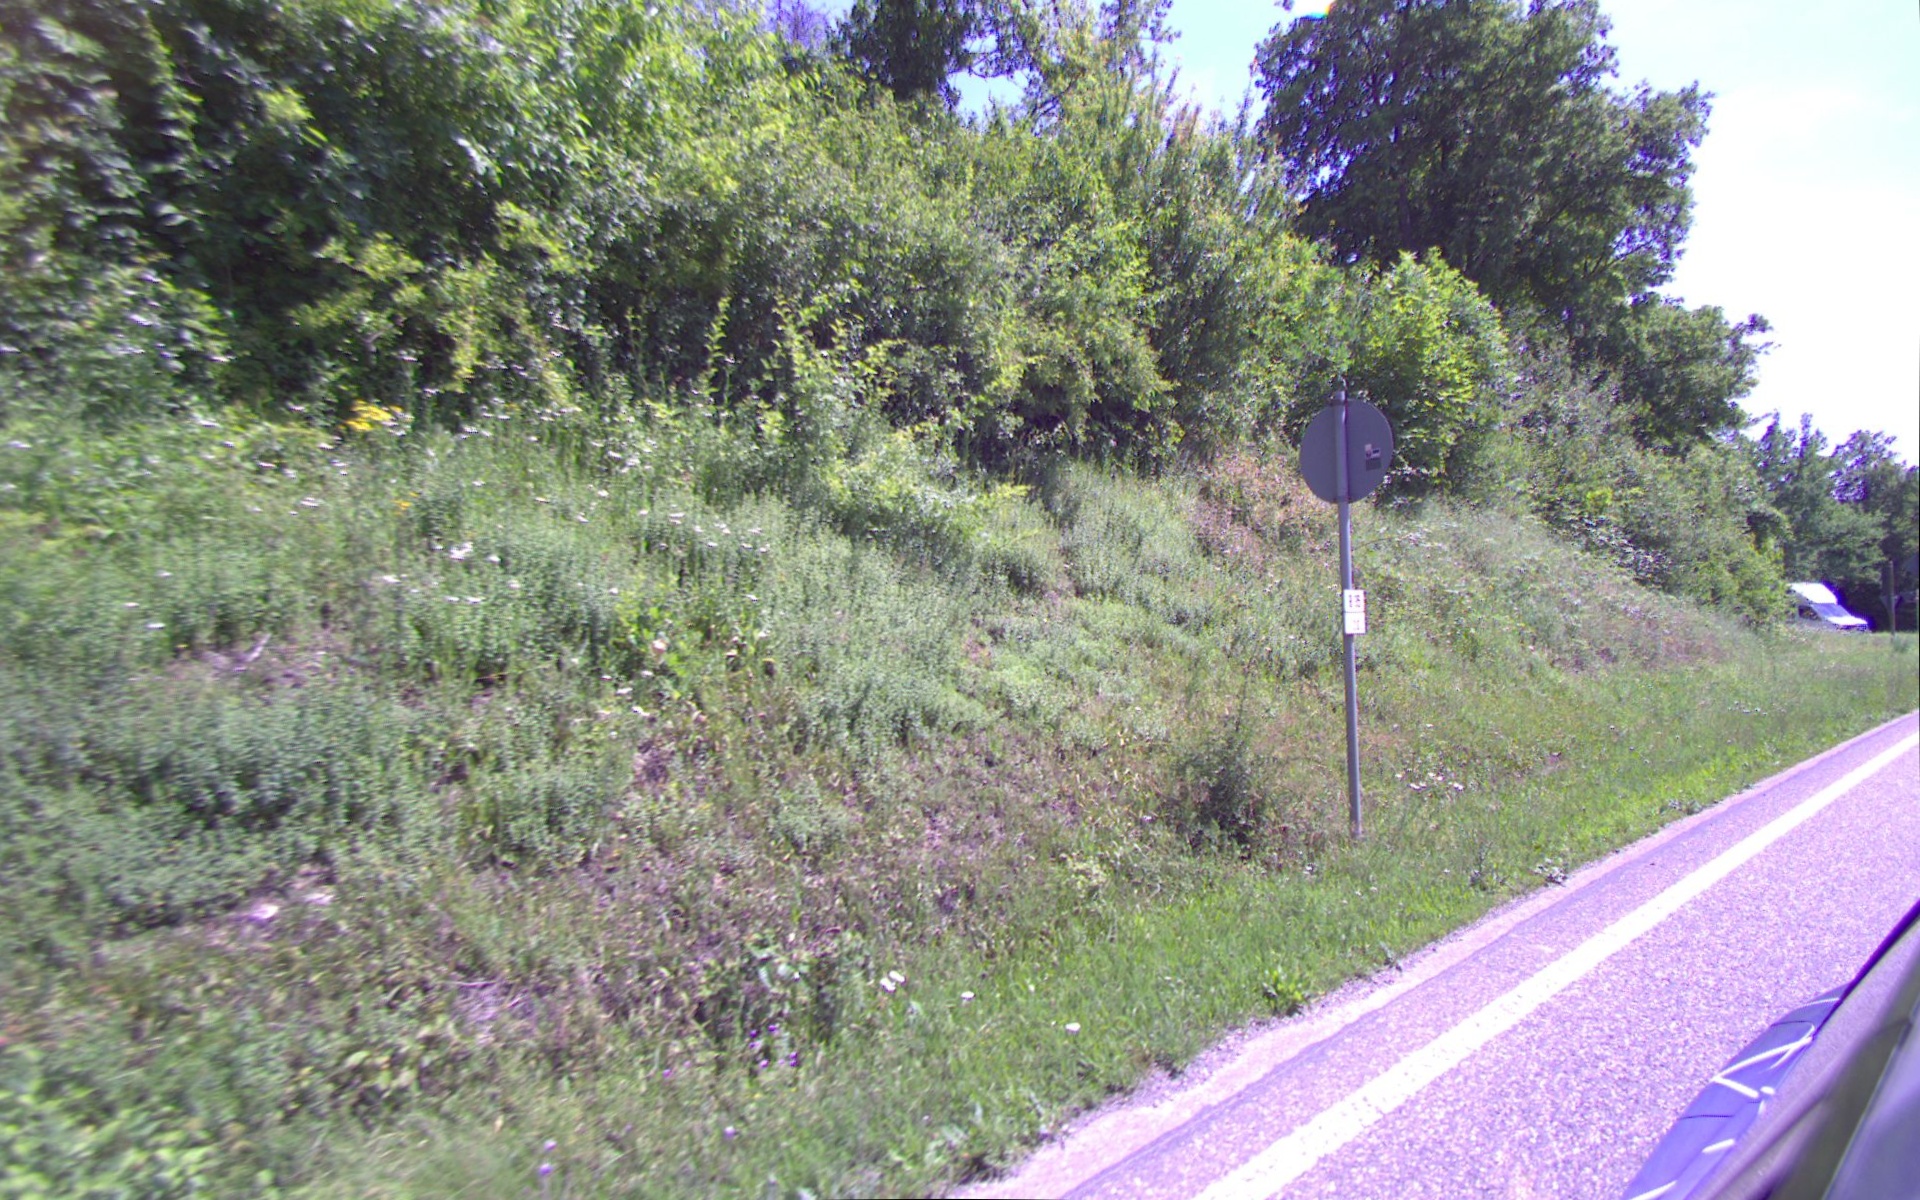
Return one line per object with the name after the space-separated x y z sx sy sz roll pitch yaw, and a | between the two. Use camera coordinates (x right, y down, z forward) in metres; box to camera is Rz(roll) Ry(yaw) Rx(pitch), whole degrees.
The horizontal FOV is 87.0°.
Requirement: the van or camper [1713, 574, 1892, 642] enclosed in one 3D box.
43.576 0.492 52.695 2.061 3.254 7.264 -1 -2 -12 | van or camper
